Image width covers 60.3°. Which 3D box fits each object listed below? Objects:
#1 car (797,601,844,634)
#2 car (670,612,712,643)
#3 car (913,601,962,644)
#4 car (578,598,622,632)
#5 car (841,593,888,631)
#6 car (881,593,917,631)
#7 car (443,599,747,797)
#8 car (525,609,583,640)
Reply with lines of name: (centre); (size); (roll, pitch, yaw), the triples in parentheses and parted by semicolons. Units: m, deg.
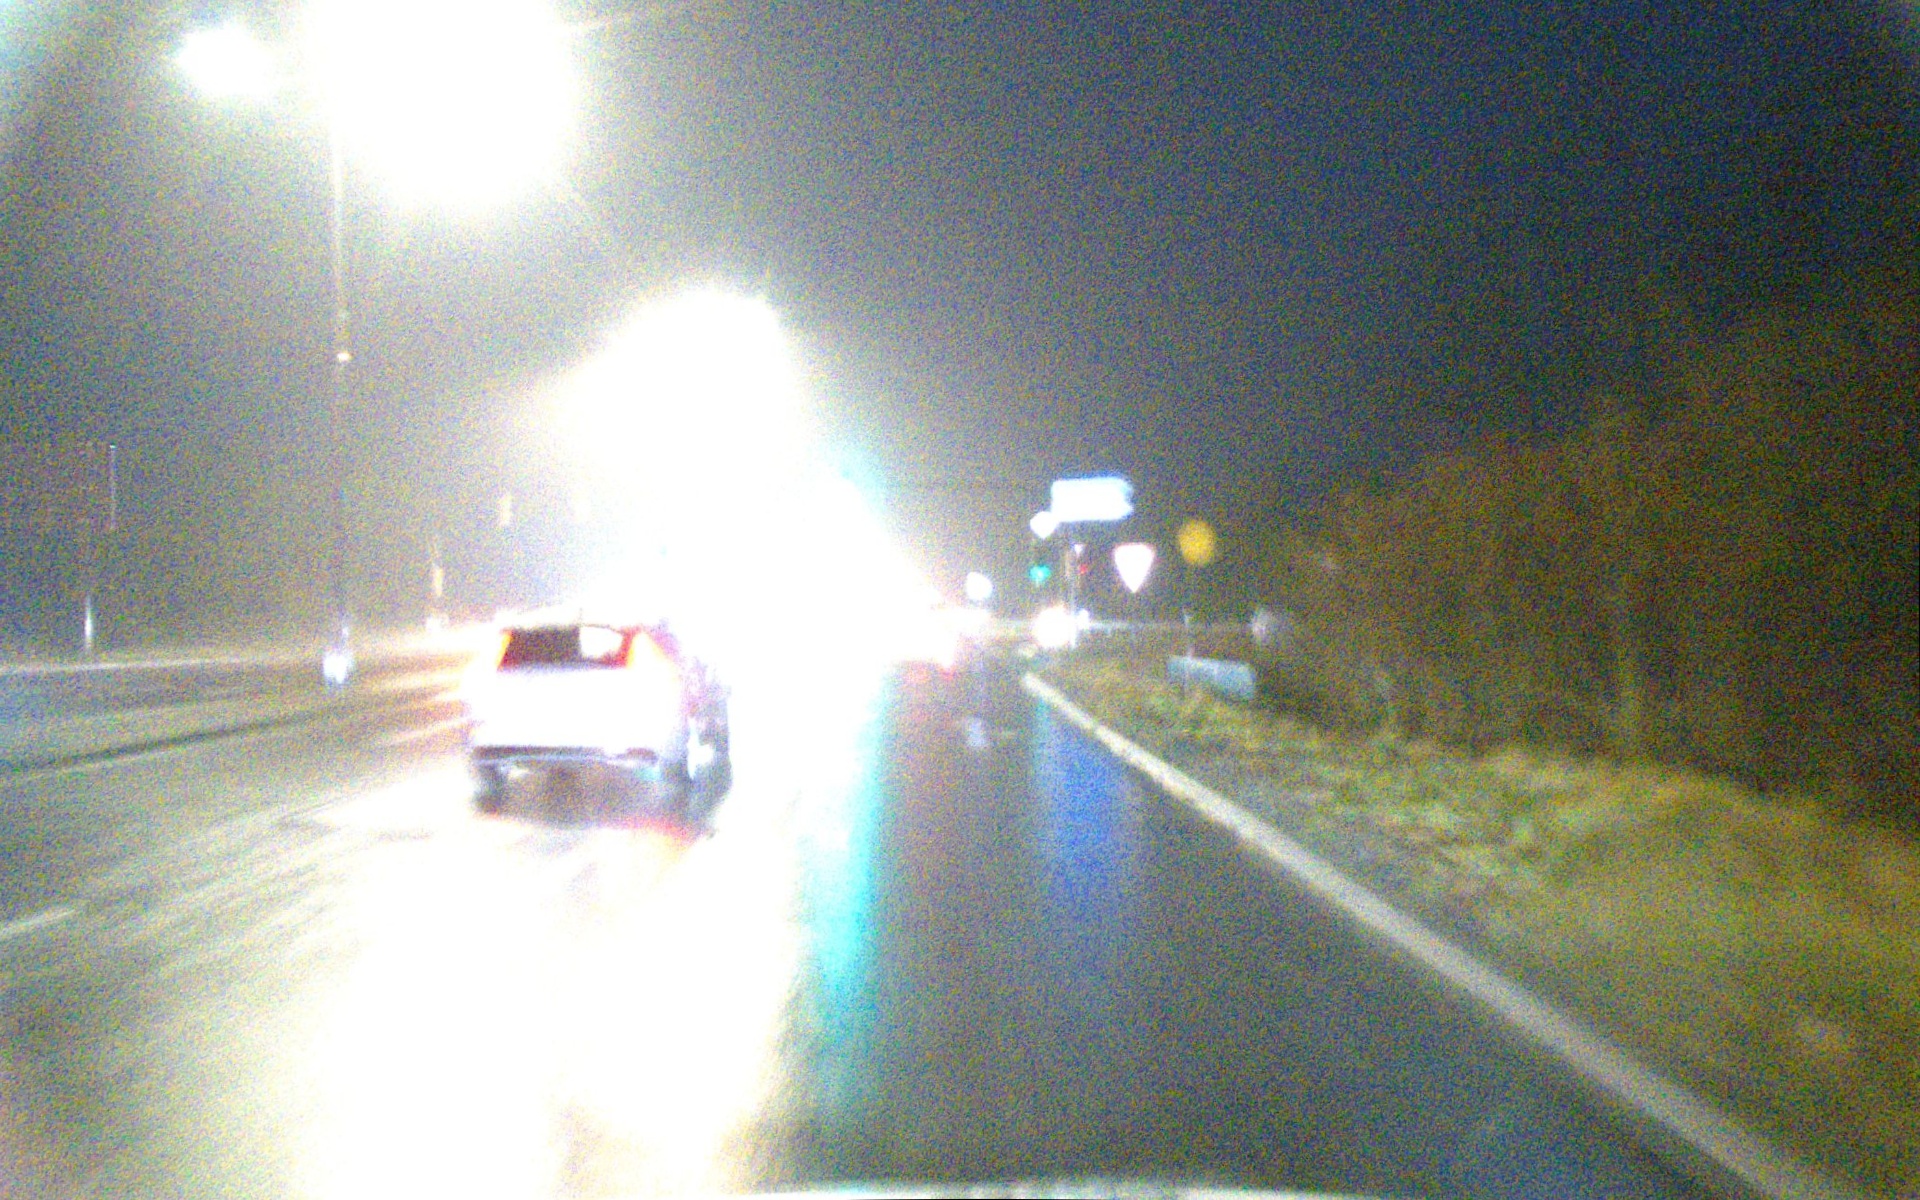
car: (-8.152, 1.036, 96.794); (2.133, 1.629, 4.000); (4, -3, 2)
car: (-13.392, 1.354, 82.506); (1.557, 1.452, 3.350); (0, 0, 0)
car: (-0.959, 1.013, 72.854); (1.870, 1.629, 4.000); (4, -3, 2)
car: (-21.089, 0.865, 96.979); (1.726, 1.925, 4.204); (0, 0, -1)
car: (-4.953, 0.644, 86.287); (2.133, 1.629, 3.998); (4, -3, 0)
car: (-3.624, 0.747, 98.925); (1.954, 1.871, 3.998); (5, -4, -1)
car: (-3.016, 0.733, 14.562); (1.760, 1.477, 4.268); (0, 0, -1)
car: (-16.601, 0.983, 67.714); (1.610, 1.224, 3.613); (0, 0, -3)
